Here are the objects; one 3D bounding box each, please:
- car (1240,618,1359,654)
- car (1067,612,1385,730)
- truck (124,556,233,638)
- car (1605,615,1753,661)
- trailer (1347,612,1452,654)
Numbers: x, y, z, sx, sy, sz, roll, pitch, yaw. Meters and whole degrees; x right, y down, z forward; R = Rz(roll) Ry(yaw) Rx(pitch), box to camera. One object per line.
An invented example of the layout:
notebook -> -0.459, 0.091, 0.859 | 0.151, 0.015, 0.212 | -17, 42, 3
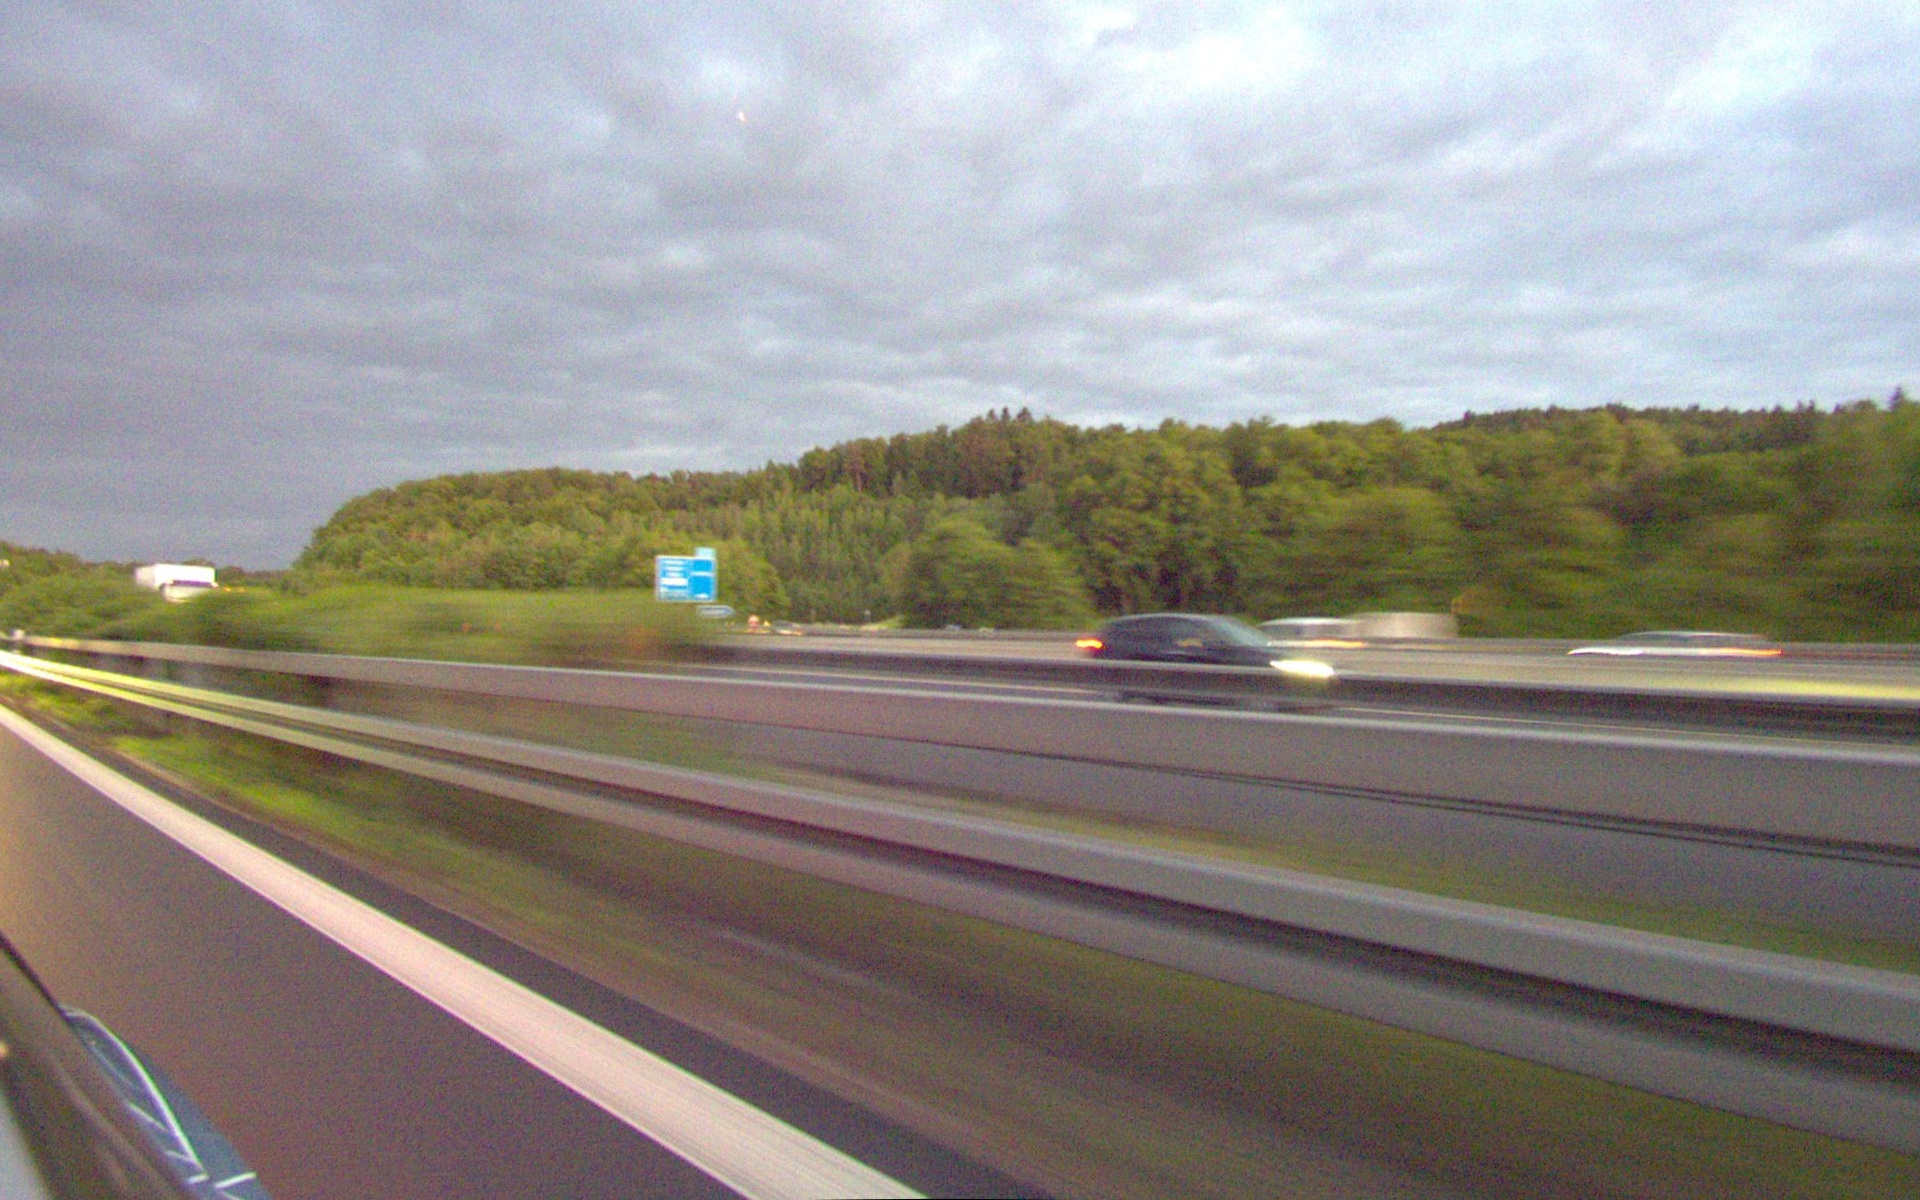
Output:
car -> 14.449, 1.497, 43.183 | 4.461, 1.453, 1.818 | -1, -1, 39
car -> 4.077, 0.997, 15.976 | 4.518, 1.573, 1.852 | 0, -1, 41
truck -> -44.836, -0.109, 57.895 | 9.886, 4.334, 3.006 | 0, -1, 41
car -> 26.449, 1.357, 37.308 | 4.307, 1.608, 1.748 | -1, -1, 41
trailer -> 17.579, 1.286, 40.544 | 3.596, 1.608, 1.520 | -1, -1, 39
